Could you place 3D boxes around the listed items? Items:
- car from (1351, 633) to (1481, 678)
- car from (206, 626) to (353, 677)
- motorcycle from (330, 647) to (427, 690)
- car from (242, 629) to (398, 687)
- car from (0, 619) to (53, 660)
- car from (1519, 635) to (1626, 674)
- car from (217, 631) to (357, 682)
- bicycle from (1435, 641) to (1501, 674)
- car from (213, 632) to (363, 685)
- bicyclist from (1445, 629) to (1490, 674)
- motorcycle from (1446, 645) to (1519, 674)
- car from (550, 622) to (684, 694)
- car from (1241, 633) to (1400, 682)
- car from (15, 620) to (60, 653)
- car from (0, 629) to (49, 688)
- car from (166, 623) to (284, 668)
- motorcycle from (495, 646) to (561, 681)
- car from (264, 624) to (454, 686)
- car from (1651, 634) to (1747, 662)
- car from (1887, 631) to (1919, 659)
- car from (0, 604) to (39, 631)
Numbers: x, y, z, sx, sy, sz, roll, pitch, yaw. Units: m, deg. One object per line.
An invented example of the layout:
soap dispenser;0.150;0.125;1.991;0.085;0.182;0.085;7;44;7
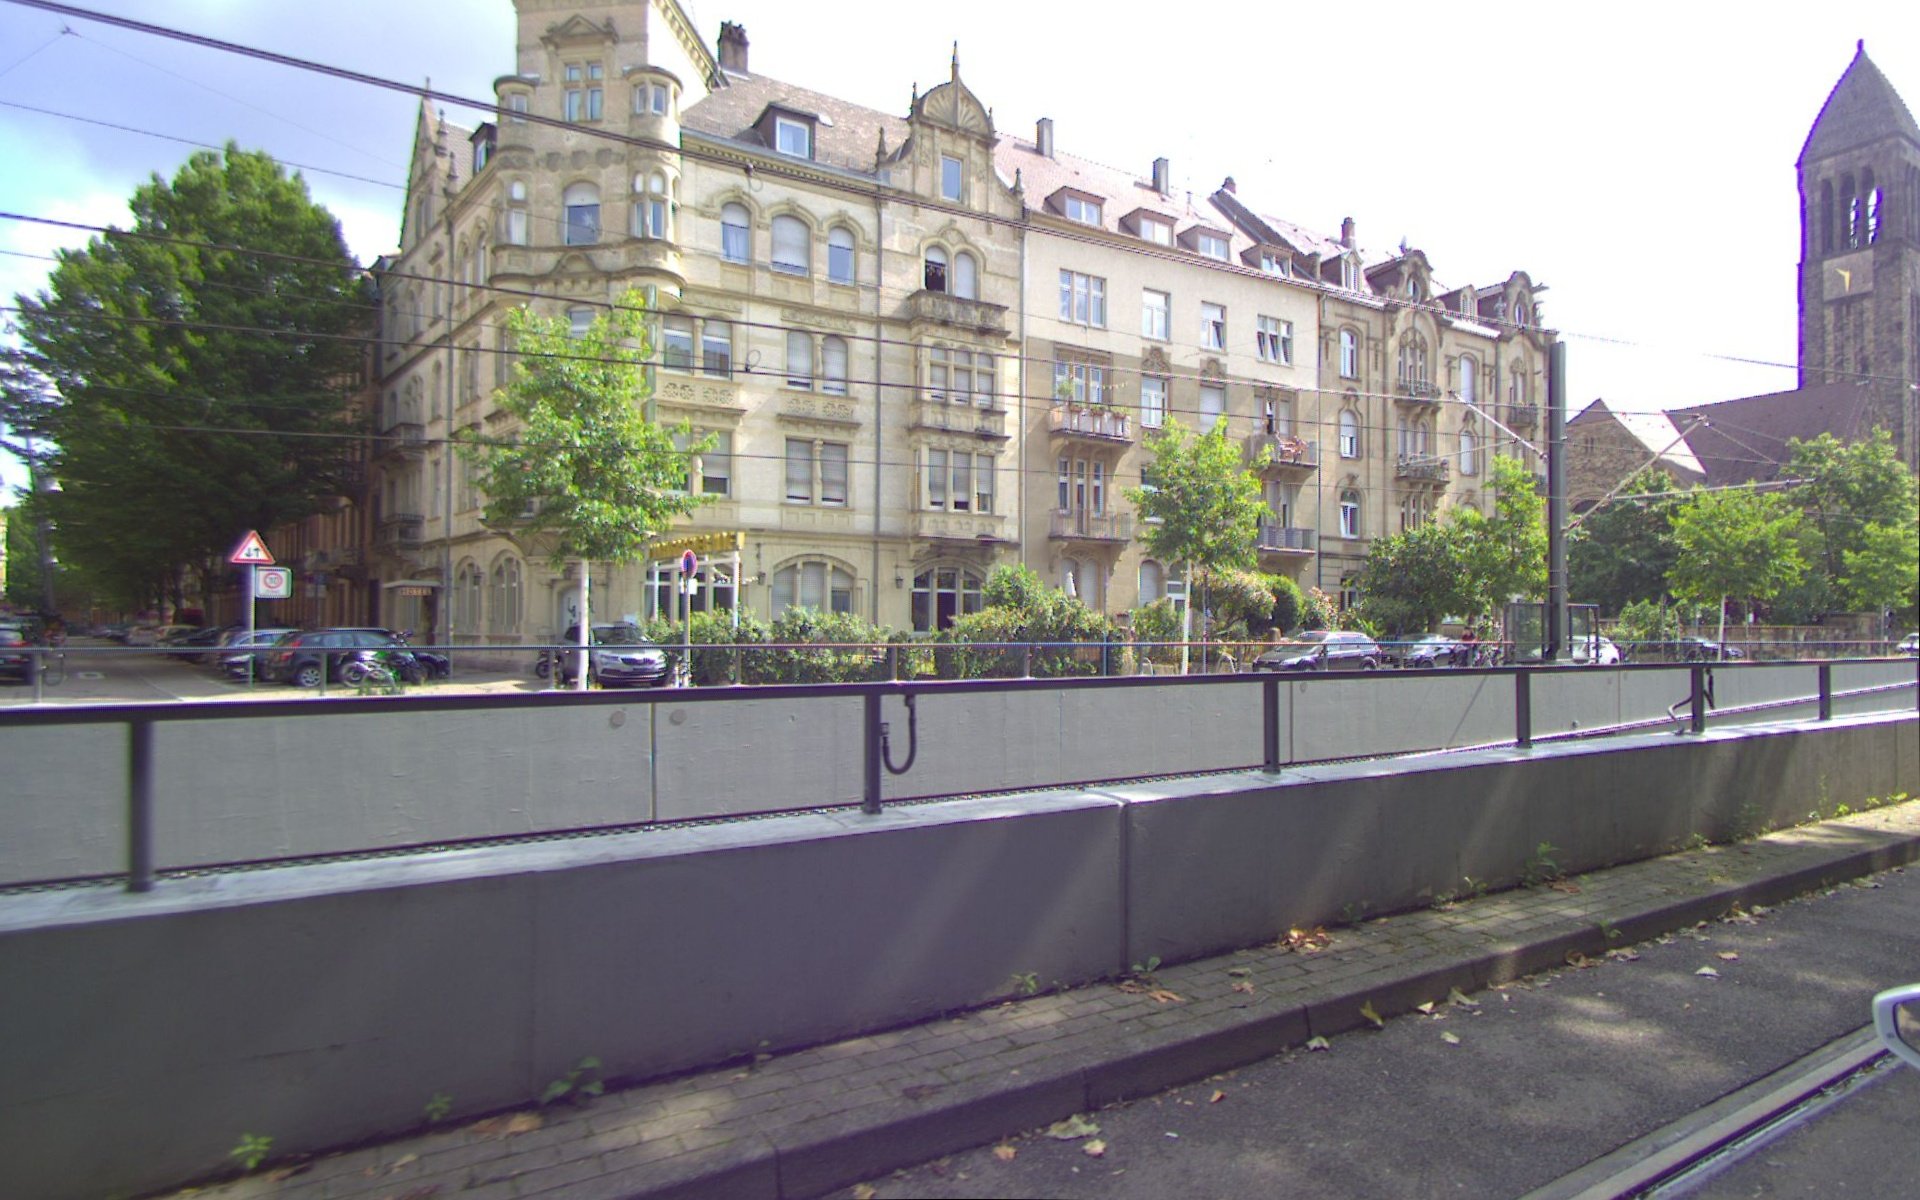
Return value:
car;14.901;1.770;32.772;4.056;1.345;2.008;1;-2;-33
car;-23.275;1.735;34.400;3.968;1.515;1.977;-1;-1;-41
motorcycle;-14.269;1.664;24.688;1.986;1.007;0.517;2;-2;-43
car;-18.076;1.596;28.448;3.491;1.512;1.662;2;-2;-43
car;-46.912;1.961;50.408;1.913;1.967;3.953;2;-2;-40
car;22.902;1.999;37.523;4.266;1.345;1.742;1;-2;-33
car;-21.381;1.753;31.972;3.490;1.505;1.663;2;-2;-43
bicycle;15.651;1.770;30.949;2.115;0.991;0.772;1;-3;-30
car;-20.112;1.709;30.135;3.493;1.512;1.661;2;-2;-45
bicyclist;15.588;1.590;30.881;1.036;1.355;0.764;1;-3;-30
motorcycle;18.037;2.044;34.700;1.402;0.953;1.752;1;-3;-31
car;-8.709;1.390;25.325;2.019;1.627;3.919;1;-2;-38
car;10.841;1.668;30.144;4.669;1.345;1.940;1;-2;-30
car;-54.686;2.152;59.588;1.914;1.856;3.951;2;-2;-42
car;-26.594;1.581;27.842;1.912;1.555;3.950;3;-3;-43
car;-29.360;1.803;40.280;3.739;1.723;1.667;1;-2;-35
motorcycle;-11.805;1.739;27.466;1.564;0.935;0.492;1;-1;-12
car;-16.038;1.436;26.940;4.109;1.540;1.662;2;-2;-43
car;40.909;2.630;55.656;1.703;1.483;3.945;1;-2;-29
car;54.204;2.539;56.551;4.365;1.524;1.920;1;-2;-32
car;-71.220;1.344;76.096;1.912;1.967;3.954;1;-2;-40
